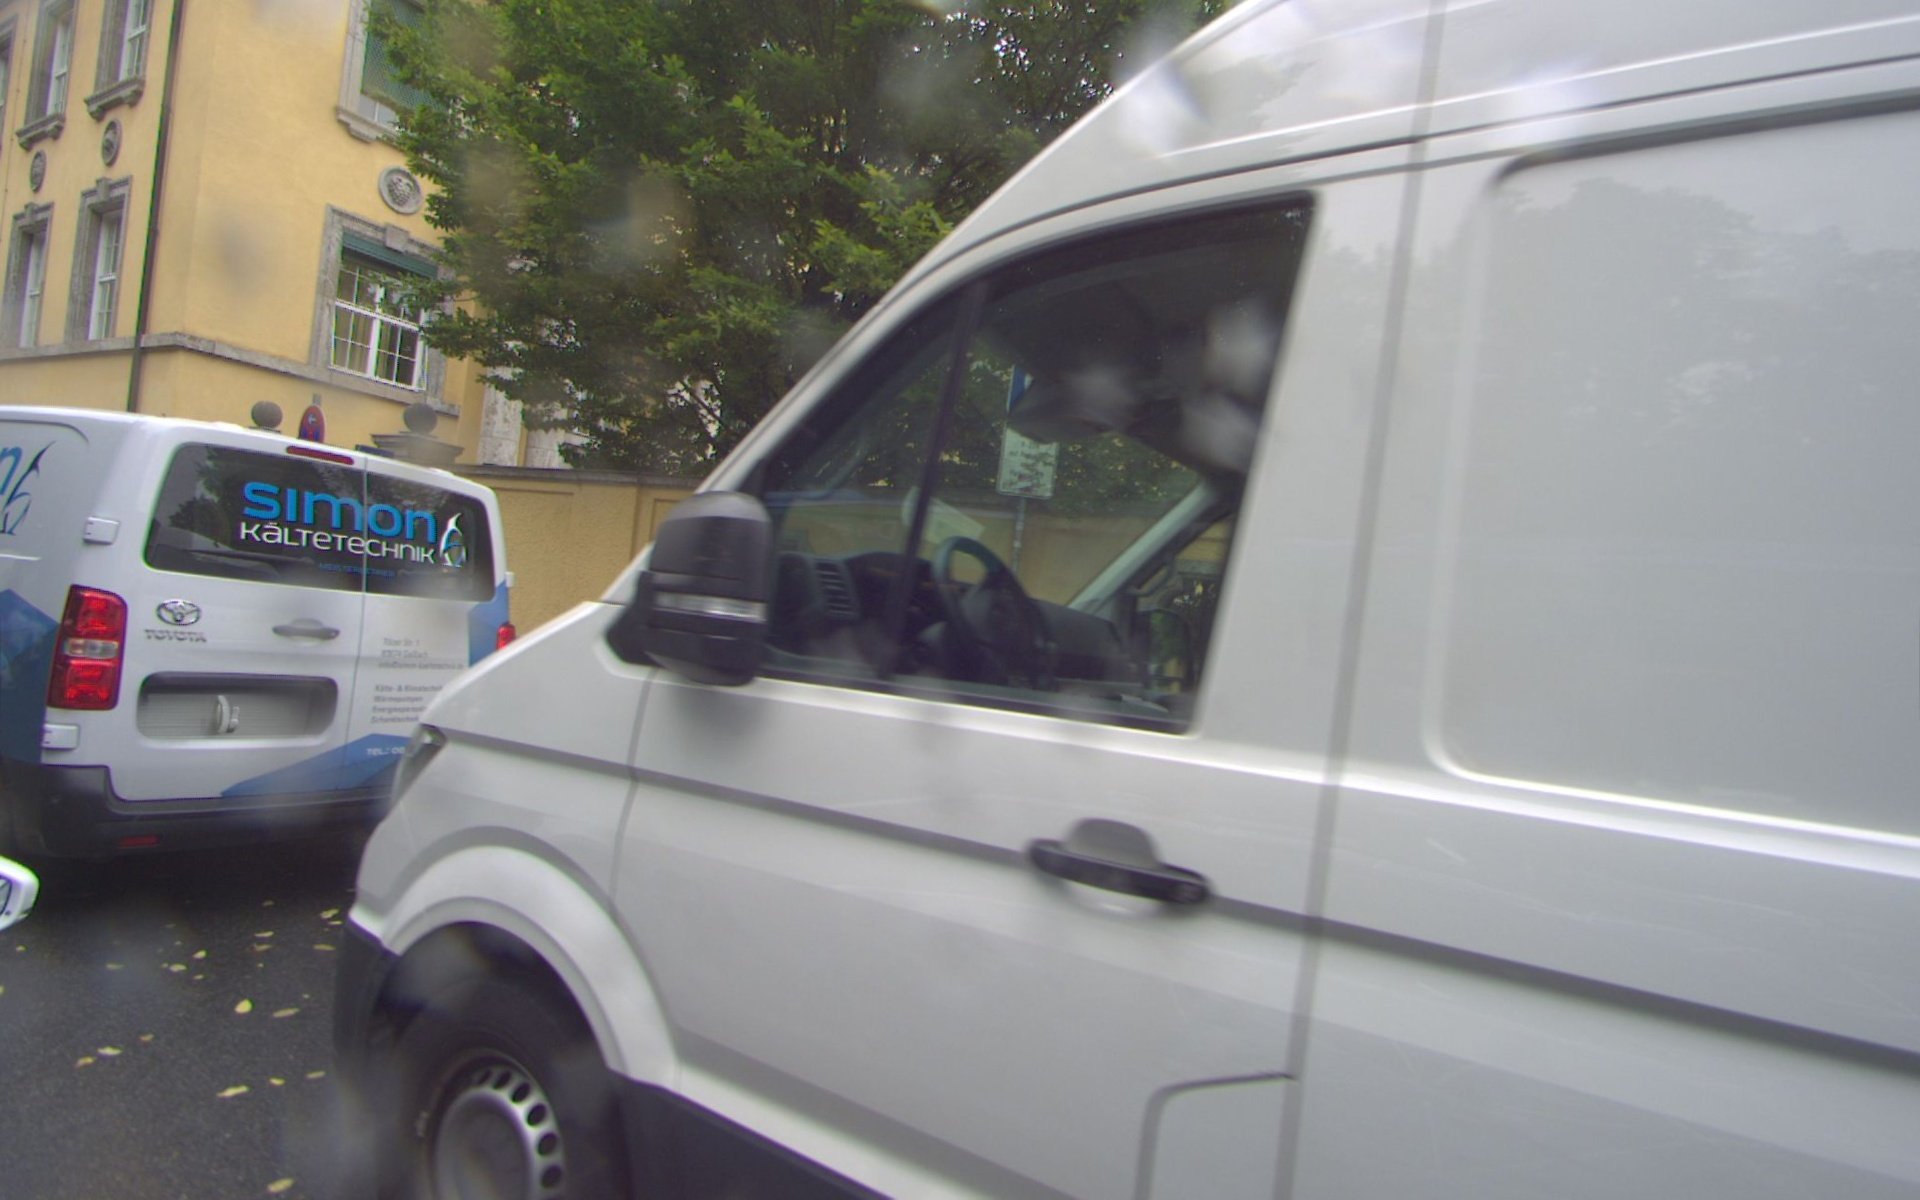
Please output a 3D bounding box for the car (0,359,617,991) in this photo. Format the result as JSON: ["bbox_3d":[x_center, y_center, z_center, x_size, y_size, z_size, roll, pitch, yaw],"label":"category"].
[{"bbox_3d":[-4.445,0.065,5.161,5.075,1.929,2.018,7,-1,29],"label":"car"}]

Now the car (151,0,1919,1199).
[{"bbox_3d":[1.311,0.449,1.615,5.644,2.518,2.098,5,0,31],"label":"car"}]
